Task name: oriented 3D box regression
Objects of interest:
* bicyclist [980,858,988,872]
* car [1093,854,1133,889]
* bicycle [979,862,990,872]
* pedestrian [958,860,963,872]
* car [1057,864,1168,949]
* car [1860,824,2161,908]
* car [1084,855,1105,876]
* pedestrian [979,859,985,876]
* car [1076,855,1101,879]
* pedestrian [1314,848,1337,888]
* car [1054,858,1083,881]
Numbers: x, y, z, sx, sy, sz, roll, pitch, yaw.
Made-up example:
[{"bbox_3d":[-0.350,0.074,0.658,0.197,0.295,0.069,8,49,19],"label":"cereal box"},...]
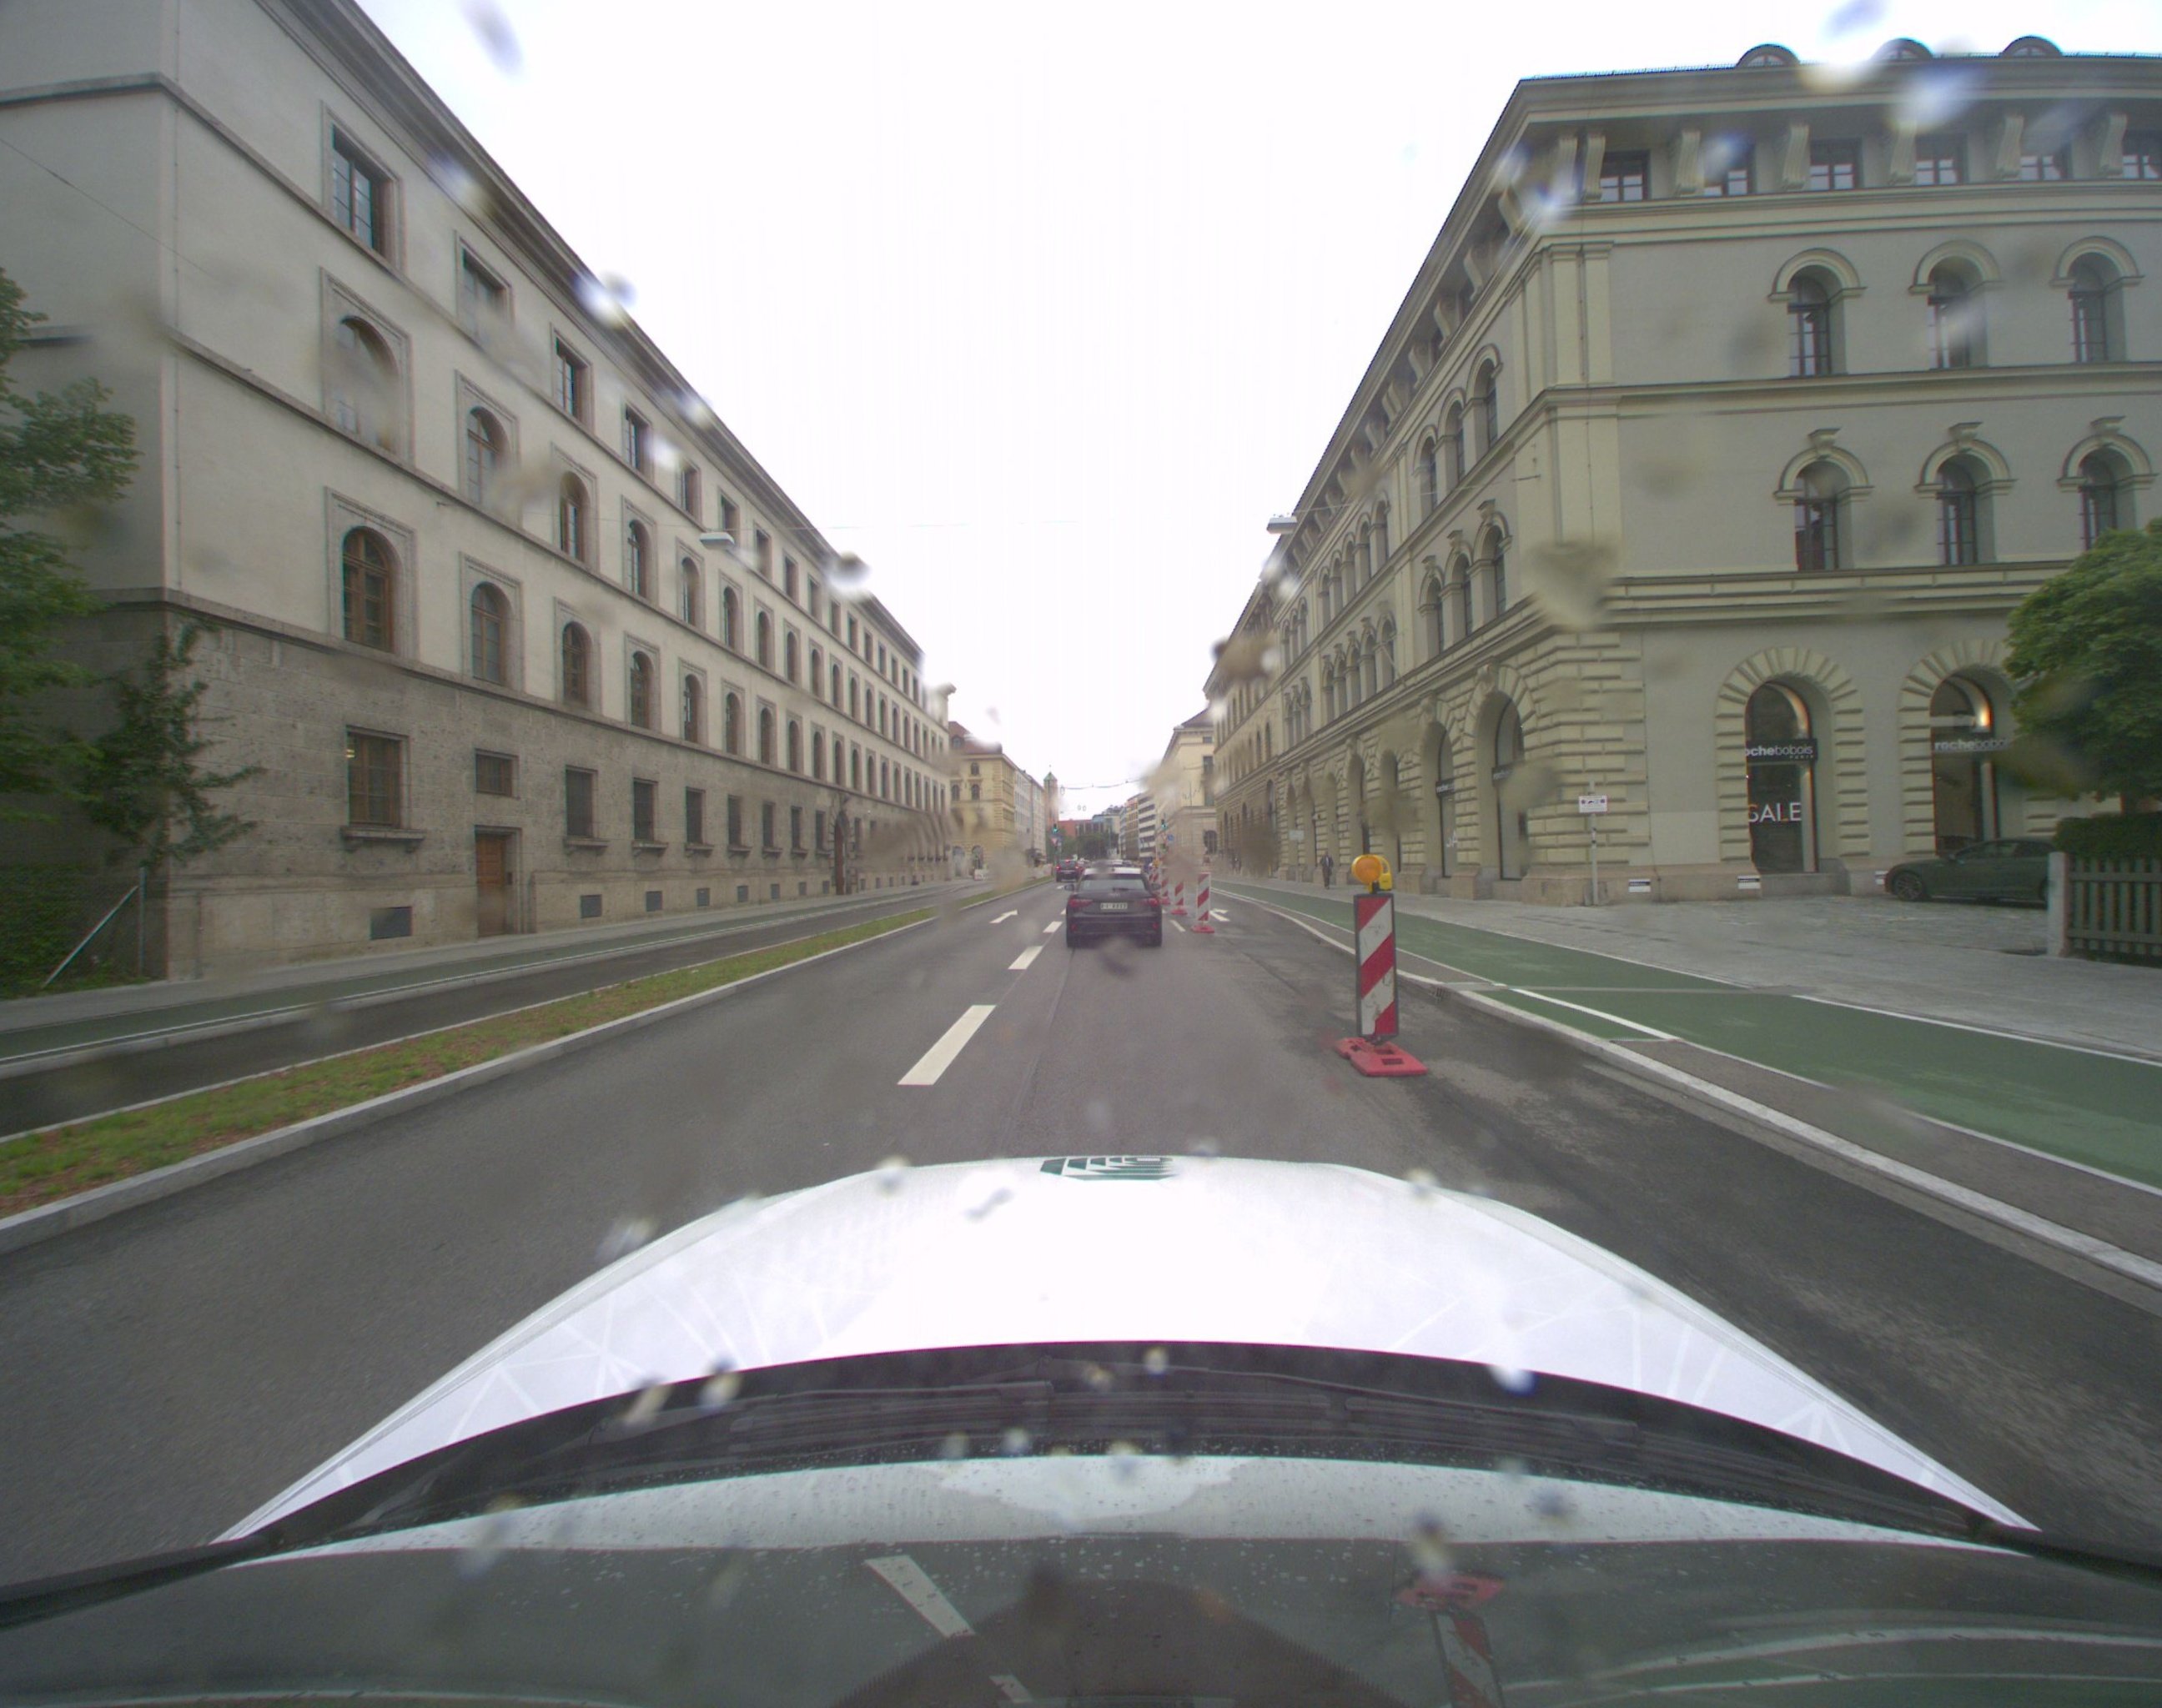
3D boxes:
[{"bbox_3d":[-11.727,1.317,98.797,0.794,1.749,0.690,-1,-1,6],"label":"bicyclist"},{"bbox_3d":[1.579,0.852,40.909,1.764,1.617,3.998,-1,0,-1],"label":"car"},{"bbox_3d":[-11.724,1.586,98.812,0.783,1.242,2.453,-1,-1,7],"label":"bicycle"},{"bbox_3d":[-17.399,1.773,117.849,0.733,1.772,0.737,0,-1,-8],"label":"pedestrian"},{"bbox_3d":[0.604,0.924,15.840,1.856,1.388,4.002,-1,0,2],"label":"car"},{"bbox_3d":[18.699,0.213,16.311,1.850,1.426,4.631,-2,-1,2],"label":"car"},{"bbox_3d":[1.398,1.152,82.394,1.986,2.014,4.002,-2,-1,2],"label":"car"},{"bbox_3d":[-10.177,1.406,83.797,0.512,1.743,1.040,-1,-1,-8],"label":"pedestrian"},{"bbox_3d":[0.680,1.095,70.473,1.986,2.014,4.001,-2,-1,2],"label":"car"},{"bbox_3d":[10.697,0.614,35.658,0.630,1.704,1.086,-2,-1,1],"label":"pedestrian"},{"bbox_3d":[-0.894,1.138,60.497,1.858,1.601,3.852,-2,-1,2],"label":"car"}]
